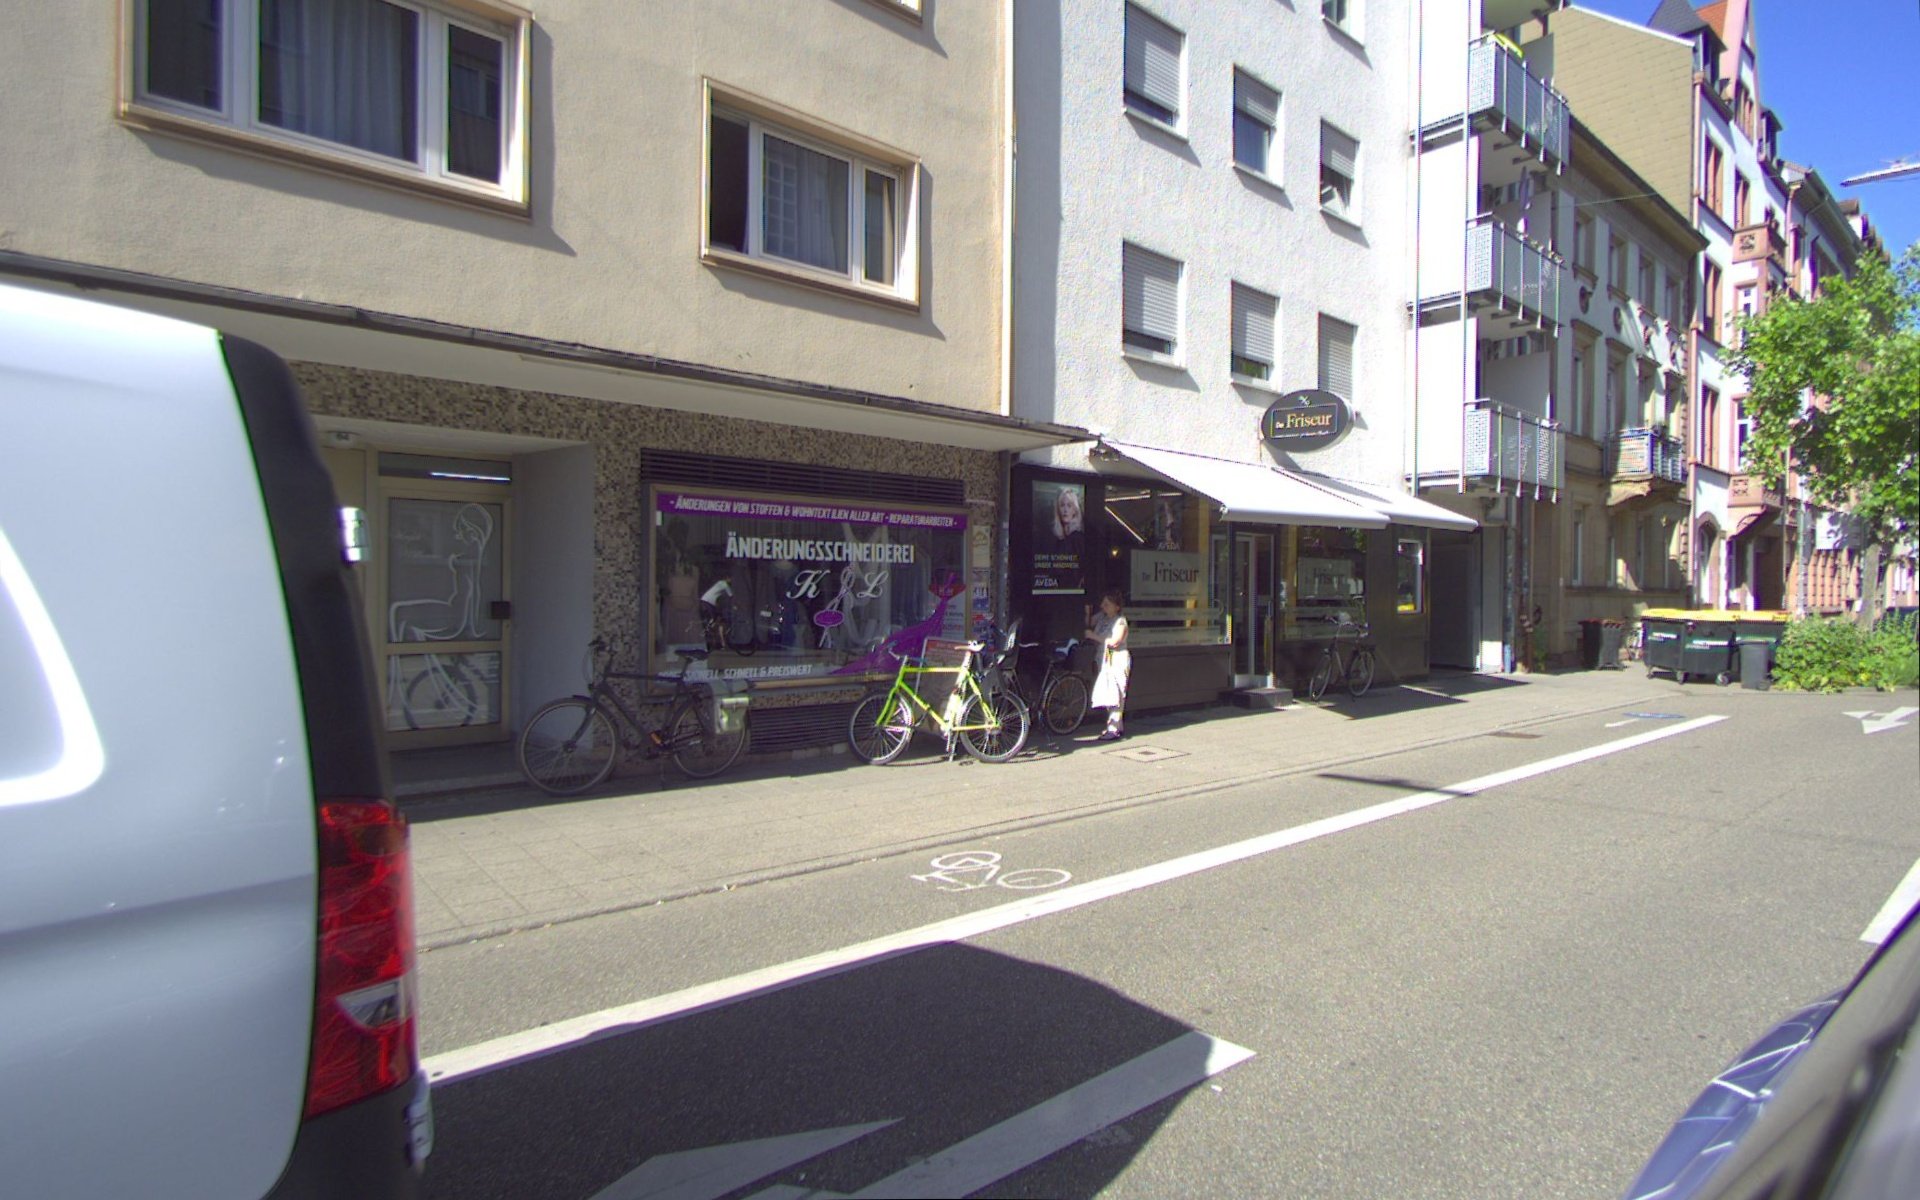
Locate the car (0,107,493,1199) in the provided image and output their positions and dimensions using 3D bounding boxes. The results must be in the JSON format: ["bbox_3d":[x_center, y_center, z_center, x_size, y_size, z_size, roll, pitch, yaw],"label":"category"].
[{"bbox_3d":[-2.969,0.469,0.359,4.750,1.833,1.971,-1,1,-42],"label":"car"}]

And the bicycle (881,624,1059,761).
[{"bbox_3d":[0.103,0.804,9.218,1.475,1.120,0.719,1,0,18],"label":"bicycle"}]

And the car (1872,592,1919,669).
[{"bbox_3d":[21.607,0.647,22.452,3.485,1.616,1.626,0,1,-41],"label":"car"}]

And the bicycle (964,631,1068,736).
[{"bbox_3d":[0.596,0.839,10.538,1.155,0.995,0.375,0,0,-43],"label":"bicycle"}]

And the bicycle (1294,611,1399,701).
[{"bbox_3d":[5.501,0.756,14.365,1.743,1.157,0.598,0,3,-41],"label":"bicycle"}]

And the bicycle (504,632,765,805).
[{"bbox_3d":[-2.351,0.814,7.438,1.766,1.098,0.408,0,3,-36],"label":"bicycle"}]

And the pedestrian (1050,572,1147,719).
[{"bbox_3d":[1.453,0.451,10.635,0.774,1.460,0.615,3,2,45],"label":"pedestrian"}]
